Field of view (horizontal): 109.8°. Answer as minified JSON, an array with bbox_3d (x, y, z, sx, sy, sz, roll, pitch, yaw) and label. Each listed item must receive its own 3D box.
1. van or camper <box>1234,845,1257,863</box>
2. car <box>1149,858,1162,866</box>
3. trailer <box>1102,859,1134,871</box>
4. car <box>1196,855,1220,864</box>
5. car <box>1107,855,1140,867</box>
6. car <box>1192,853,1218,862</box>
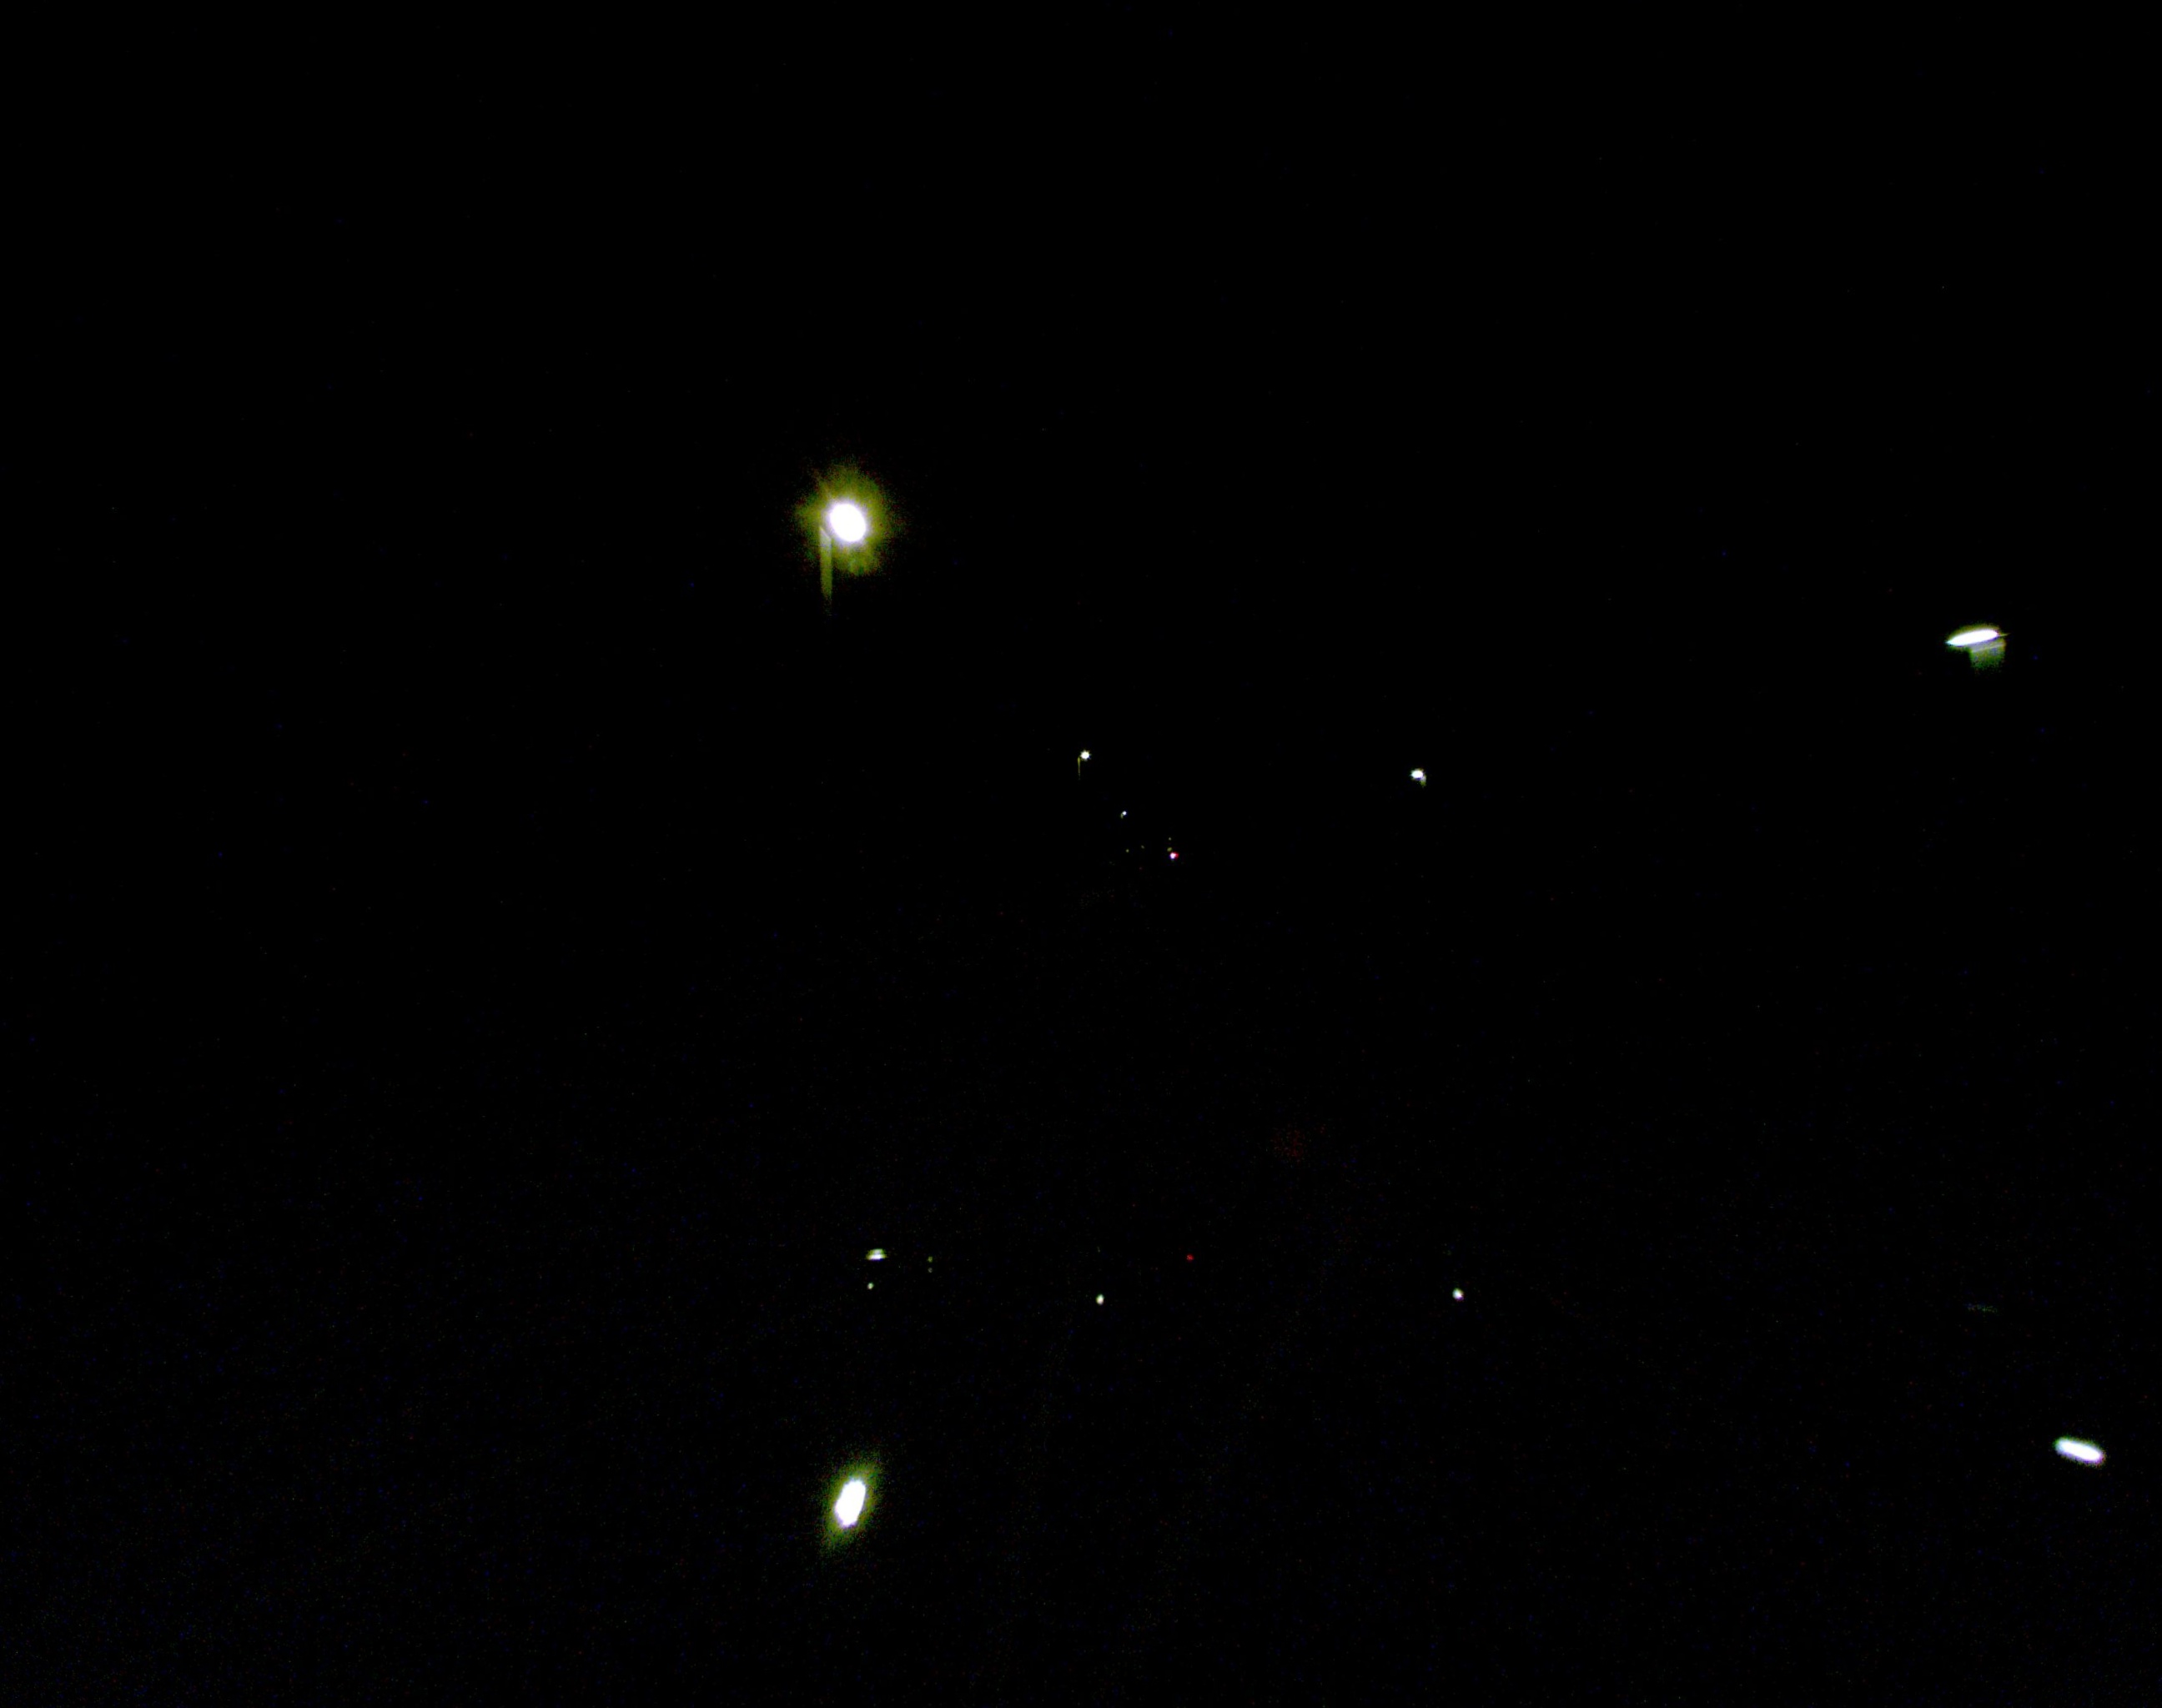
[{"bbox_3d":[25.941,0.004,119.934,2.080,2.730,5.929,-2,-1,-3],"label":"van or camper"},{"bbox_3d":[13.633,1.501,138.424,1.754,1.460,4.009,-2,-1,-3],"label":"car"},{"bbox_3d":[4.156,1.250,86.220,3.441,0.996,1.954,-4,0,-2],"label":"trailer"},{"bbox_3d":[23.373,0.990,139.902,3.996,1.608,2.001,-1,-1,1],"label":"car"},{"bbox_3d":[4.543,0.769,81.834,3.401,1.224,1.724,0,-1,-4],"label":"car"},{"bbox_3d":[23.219,0.604,142.439,4.326,1.552,2.028,-1,-1,-9],"label":"car"}]
